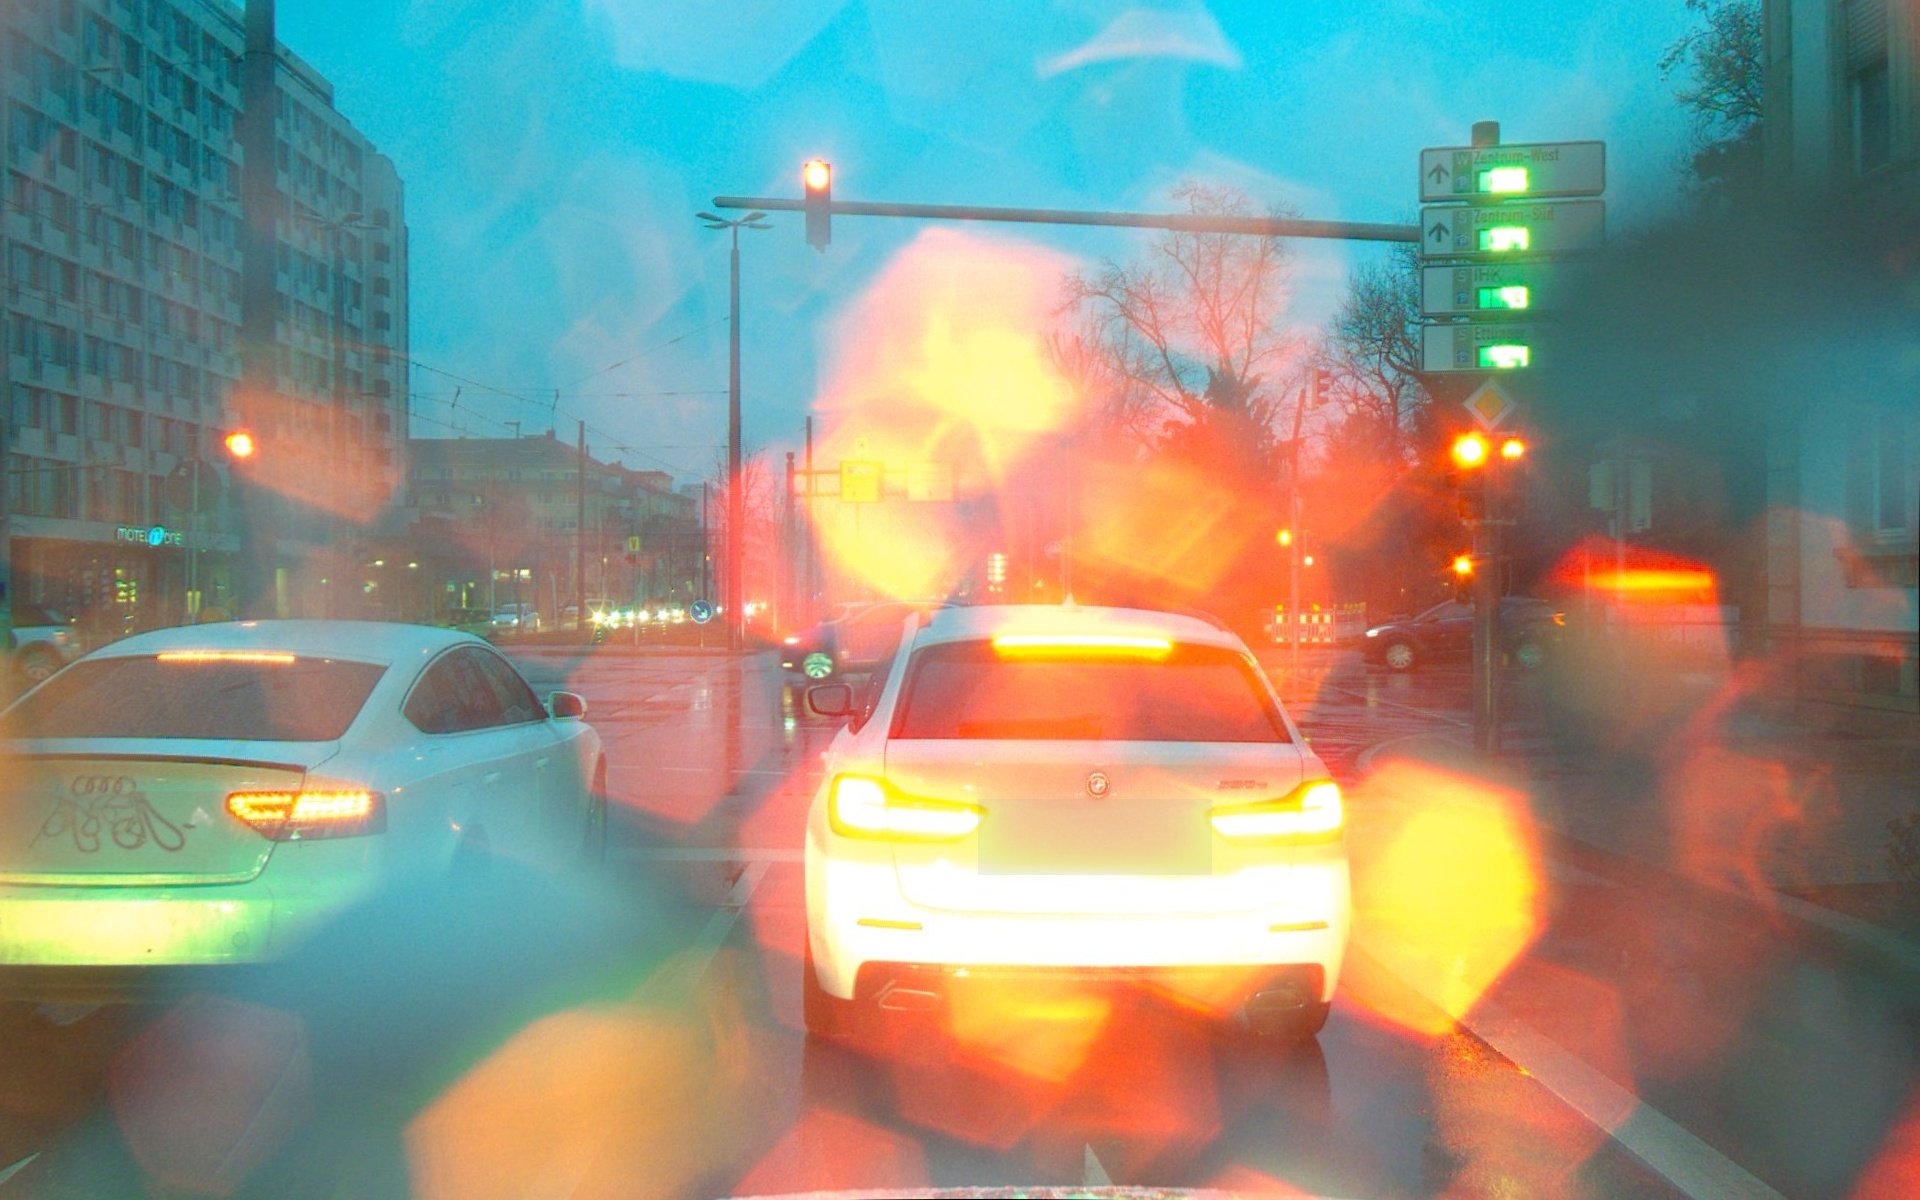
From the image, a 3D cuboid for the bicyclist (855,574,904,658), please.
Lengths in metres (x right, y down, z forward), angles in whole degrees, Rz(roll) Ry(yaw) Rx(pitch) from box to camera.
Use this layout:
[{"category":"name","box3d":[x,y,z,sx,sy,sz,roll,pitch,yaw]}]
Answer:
[{"category":"bicyclist","box3d":[-1.742,0.350,35.967,0.952,1.789,0.813,1,-1,2]}]

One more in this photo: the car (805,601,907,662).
[{"category":"car","box3d":[-2.926,0.860,45.827,1.718,1.581,3.943,2,-1,-21]}]

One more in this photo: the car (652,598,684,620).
[{"category":"car","box3d":[-21.011,0.683,119.012,1.641,1.534,3.695,1,-1,-1]}]

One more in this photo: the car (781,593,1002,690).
[{"category":"car","box3d":[-1.232,0.768,30.869,3.903,1.651,1.720,1,-1,4]}]

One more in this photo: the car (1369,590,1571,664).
[{"category":"car","box3d":[10.692,0.560,34.635,3.905,1.426,1.757,1,-1,21]}]

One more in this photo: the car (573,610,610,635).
[{"category":"car","box3d":[-24.338,1.496,109.459,1.641,1.534,3.695,1,-1,-1]}]

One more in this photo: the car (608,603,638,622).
[{"category":"car","box3d":[-27.271,1.033,133.924,1.641,1.534,3.695,1,-1,-1]}]

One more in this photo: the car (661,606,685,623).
[{"category":"car","box3d":[-27.325,1.372,157.660,1.641,1.534,3.695,1,-1,-1]}]

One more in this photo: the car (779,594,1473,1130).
[{"category":"car","box3d":[0.379,0.728,6.828,1.954,1.481,4.366,0,0,-3]}]

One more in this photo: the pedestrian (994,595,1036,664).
[{"category":"pedestrian","box3d":[1.540,0.816,46.276,0.884,1.888,0.812,1,-1,23]}]

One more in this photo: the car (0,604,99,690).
[{"category":"car","box3d":[-17.648,0.810,29.704,3.633,1.504,1.619,2,-1,-20]}]

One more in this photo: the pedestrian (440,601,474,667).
[{"category":"pedestrian","box3d":[-13.418,0.910,44.144,0.777,1.741,0.809,2,-1,-16]}]

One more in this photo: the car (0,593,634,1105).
[{"category":"car","box3d":[-2.703,0.719,6.999,1.954,1.481,4.366,0,0,-3]}]

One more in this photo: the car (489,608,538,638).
[{"category":"car","box3d":[-24.047,1.232,89.221,1.641,1.534,3.695,1,-1,-1]}]
